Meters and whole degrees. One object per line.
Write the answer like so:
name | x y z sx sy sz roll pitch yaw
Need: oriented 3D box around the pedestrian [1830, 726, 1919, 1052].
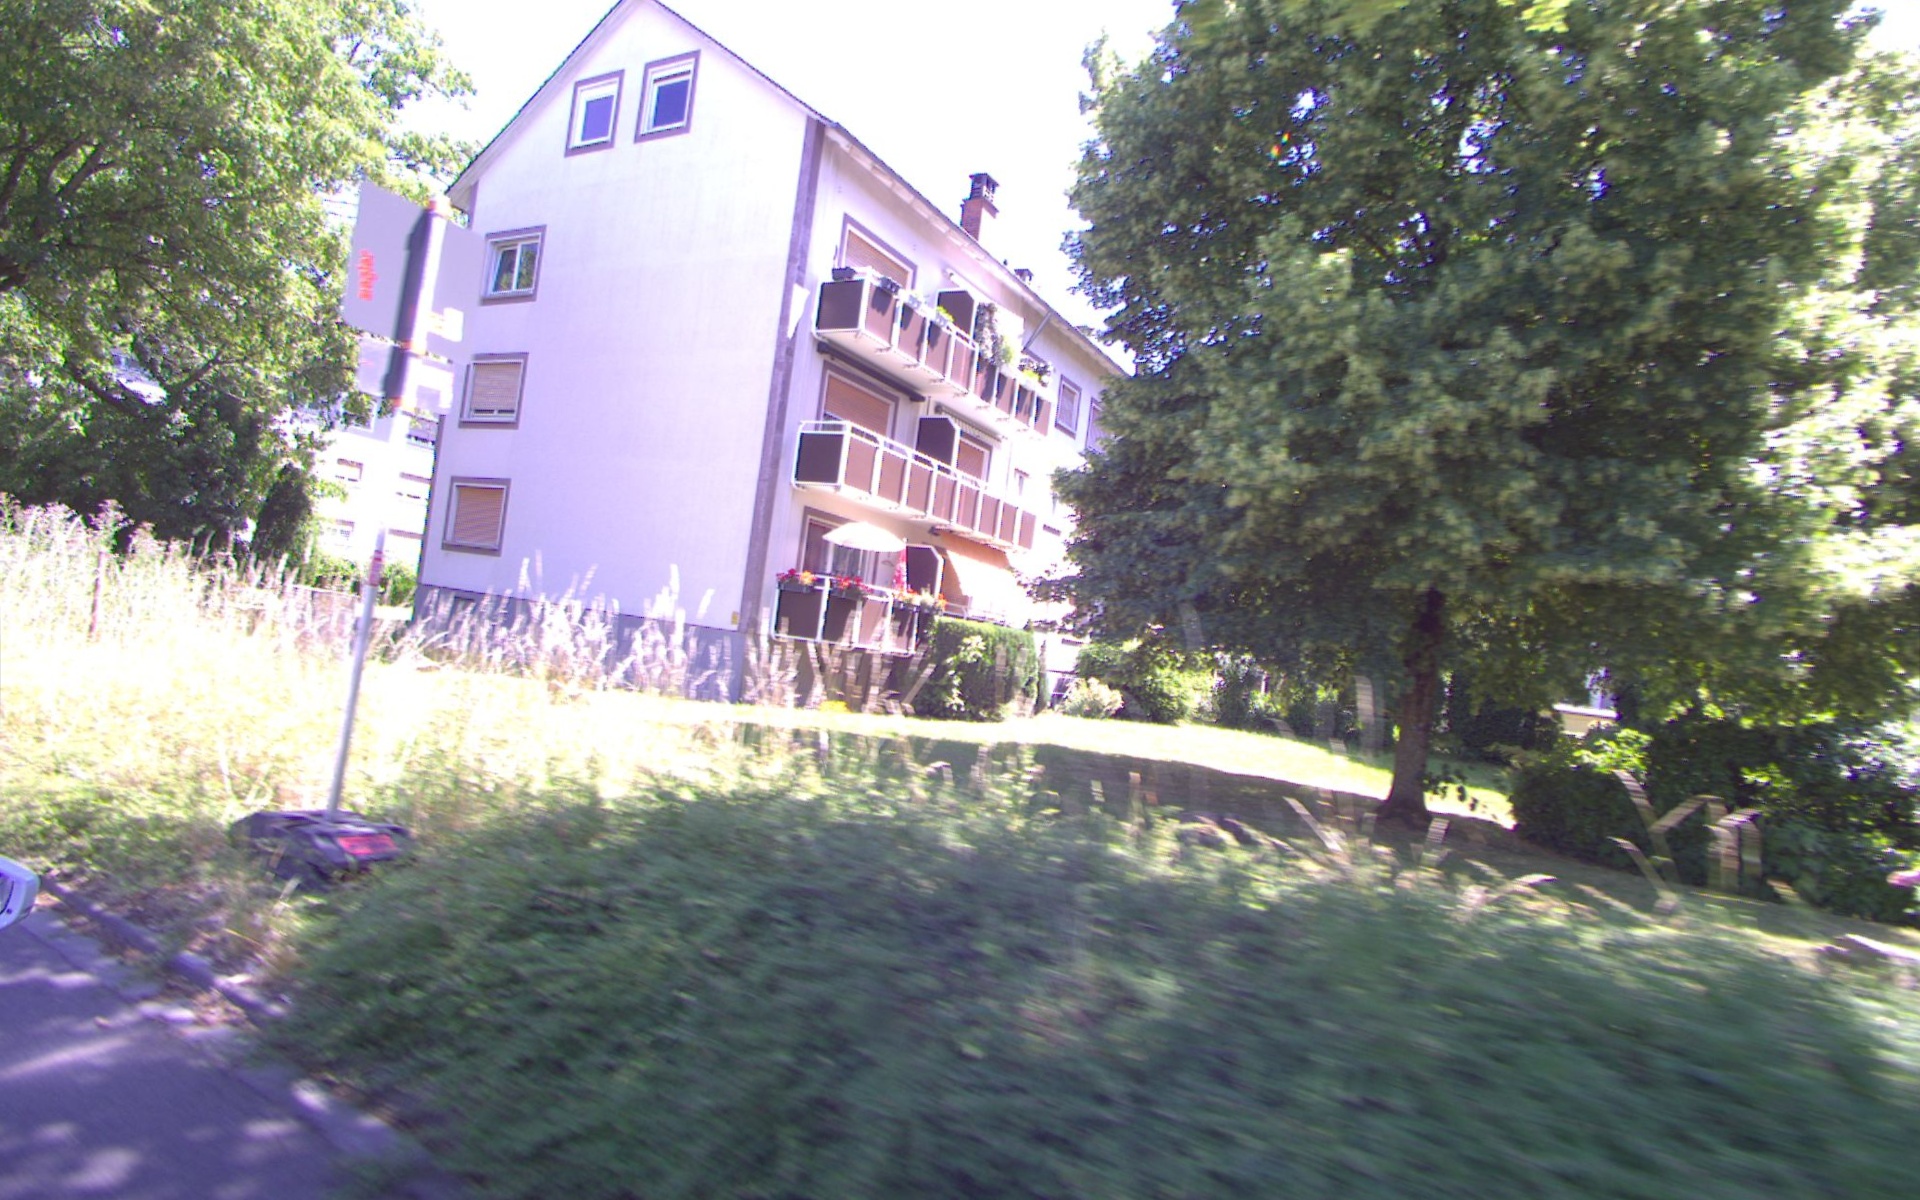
pedestrian | 5.459 1.578 5.429 0.836 1.653 0.720 7 -1 25
